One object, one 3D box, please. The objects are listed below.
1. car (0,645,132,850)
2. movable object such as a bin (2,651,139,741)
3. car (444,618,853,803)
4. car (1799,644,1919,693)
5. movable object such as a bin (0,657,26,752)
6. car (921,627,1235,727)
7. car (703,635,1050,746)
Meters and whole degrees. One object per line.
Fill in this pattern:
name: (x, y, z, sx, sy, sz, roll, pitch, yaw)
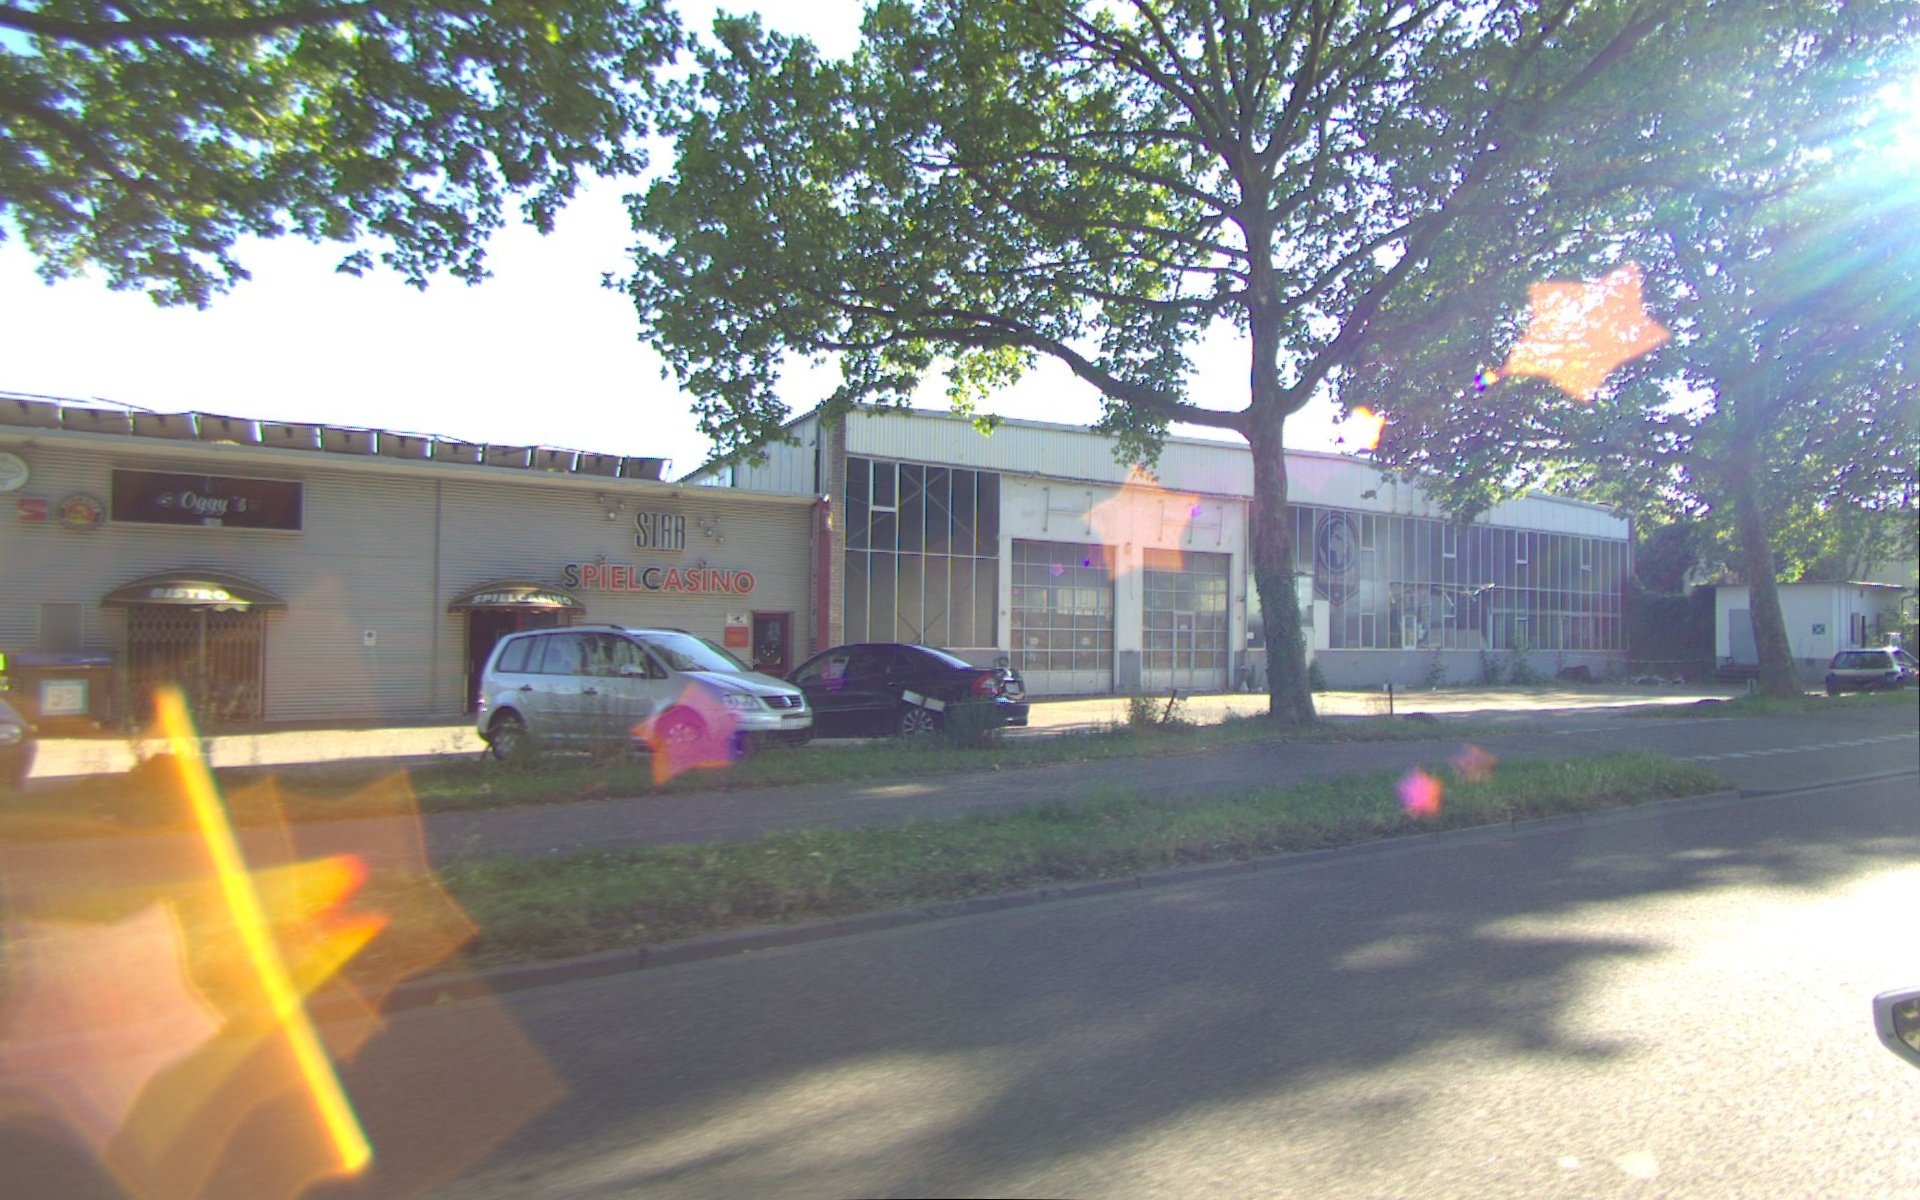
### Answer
car: (-10.163, 1.271, 9.393, 4.180, 1.651, 1.999, 2, -1, 23)
movable object such as a bin: (-15.533, 1.653, 17.609, 1.610, 1.450, 1.050, 2, -1, -33)
car: (-3.713, 1.167, 12.022, 4.398, 1.753, 1.999, 2, -1, 23)
car: (27.586, 2.104, 30.702, 3.881, 1.387, 1.982, 2, -7, -35)
movable object such as a bin: (-16.107, 1.664, 16.010, 1.556, 1.450, 1.050, 2, -1, -33)
car: (1.817, 1.083, 15.158, 4.396, 1.323, 2.000, 0, -2, 19)
car: (-1.120, 1.165, 13.989, 4.396, 1.323, 2.000, 0, -2, 19)
